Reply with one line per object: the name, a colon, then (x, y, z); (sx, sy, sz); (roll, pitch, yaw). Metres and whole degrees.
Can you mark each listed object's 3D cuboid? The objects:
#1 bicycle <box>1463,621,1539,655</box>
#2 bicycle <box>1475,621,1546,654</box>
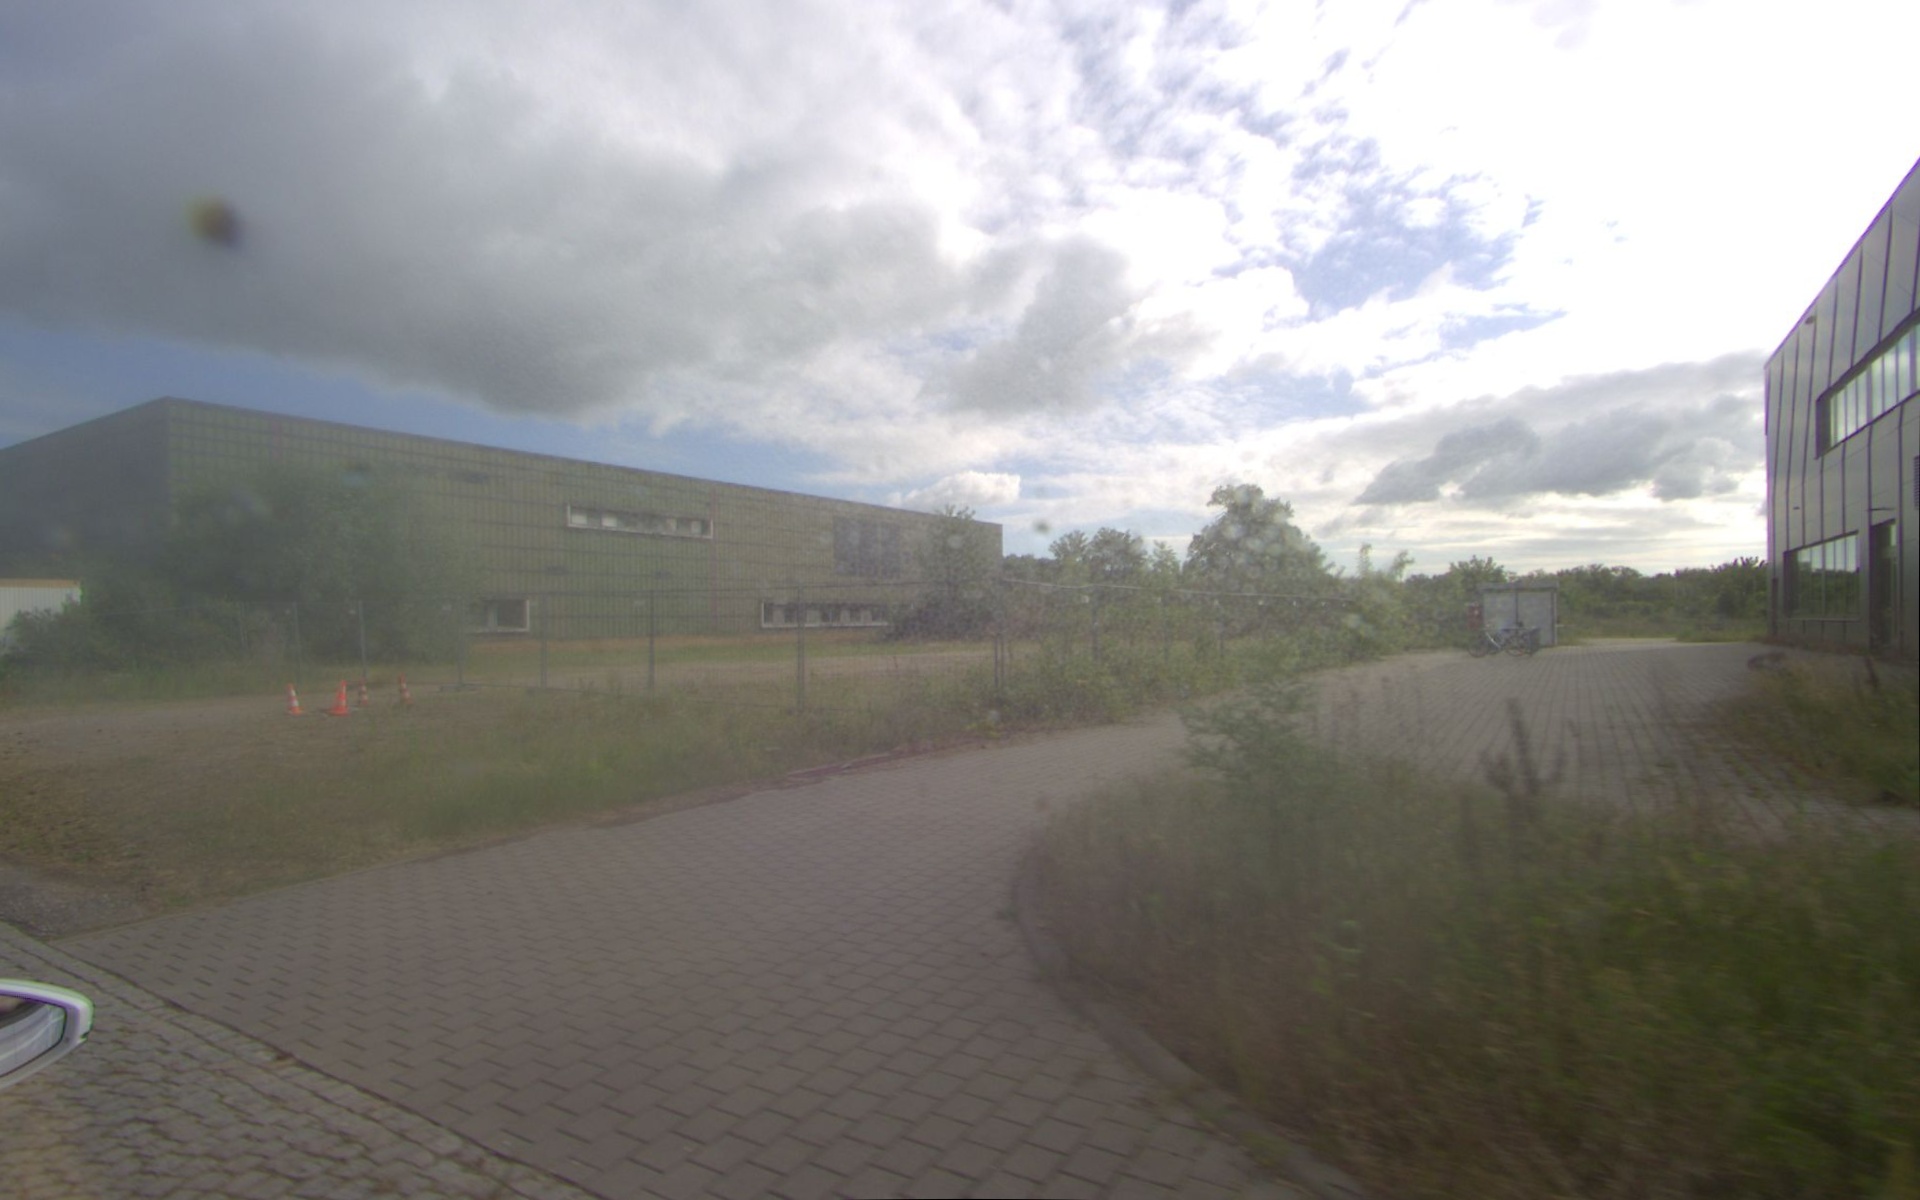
bicycle: (16.734, 1.179, 30.984); (1.962, 1.038, 0.831); (-2, -2, 35)
bicycle: (17.969, 1.215, 32.693); (1.962, 1.038, 0.831); (-2, -2, 35)
